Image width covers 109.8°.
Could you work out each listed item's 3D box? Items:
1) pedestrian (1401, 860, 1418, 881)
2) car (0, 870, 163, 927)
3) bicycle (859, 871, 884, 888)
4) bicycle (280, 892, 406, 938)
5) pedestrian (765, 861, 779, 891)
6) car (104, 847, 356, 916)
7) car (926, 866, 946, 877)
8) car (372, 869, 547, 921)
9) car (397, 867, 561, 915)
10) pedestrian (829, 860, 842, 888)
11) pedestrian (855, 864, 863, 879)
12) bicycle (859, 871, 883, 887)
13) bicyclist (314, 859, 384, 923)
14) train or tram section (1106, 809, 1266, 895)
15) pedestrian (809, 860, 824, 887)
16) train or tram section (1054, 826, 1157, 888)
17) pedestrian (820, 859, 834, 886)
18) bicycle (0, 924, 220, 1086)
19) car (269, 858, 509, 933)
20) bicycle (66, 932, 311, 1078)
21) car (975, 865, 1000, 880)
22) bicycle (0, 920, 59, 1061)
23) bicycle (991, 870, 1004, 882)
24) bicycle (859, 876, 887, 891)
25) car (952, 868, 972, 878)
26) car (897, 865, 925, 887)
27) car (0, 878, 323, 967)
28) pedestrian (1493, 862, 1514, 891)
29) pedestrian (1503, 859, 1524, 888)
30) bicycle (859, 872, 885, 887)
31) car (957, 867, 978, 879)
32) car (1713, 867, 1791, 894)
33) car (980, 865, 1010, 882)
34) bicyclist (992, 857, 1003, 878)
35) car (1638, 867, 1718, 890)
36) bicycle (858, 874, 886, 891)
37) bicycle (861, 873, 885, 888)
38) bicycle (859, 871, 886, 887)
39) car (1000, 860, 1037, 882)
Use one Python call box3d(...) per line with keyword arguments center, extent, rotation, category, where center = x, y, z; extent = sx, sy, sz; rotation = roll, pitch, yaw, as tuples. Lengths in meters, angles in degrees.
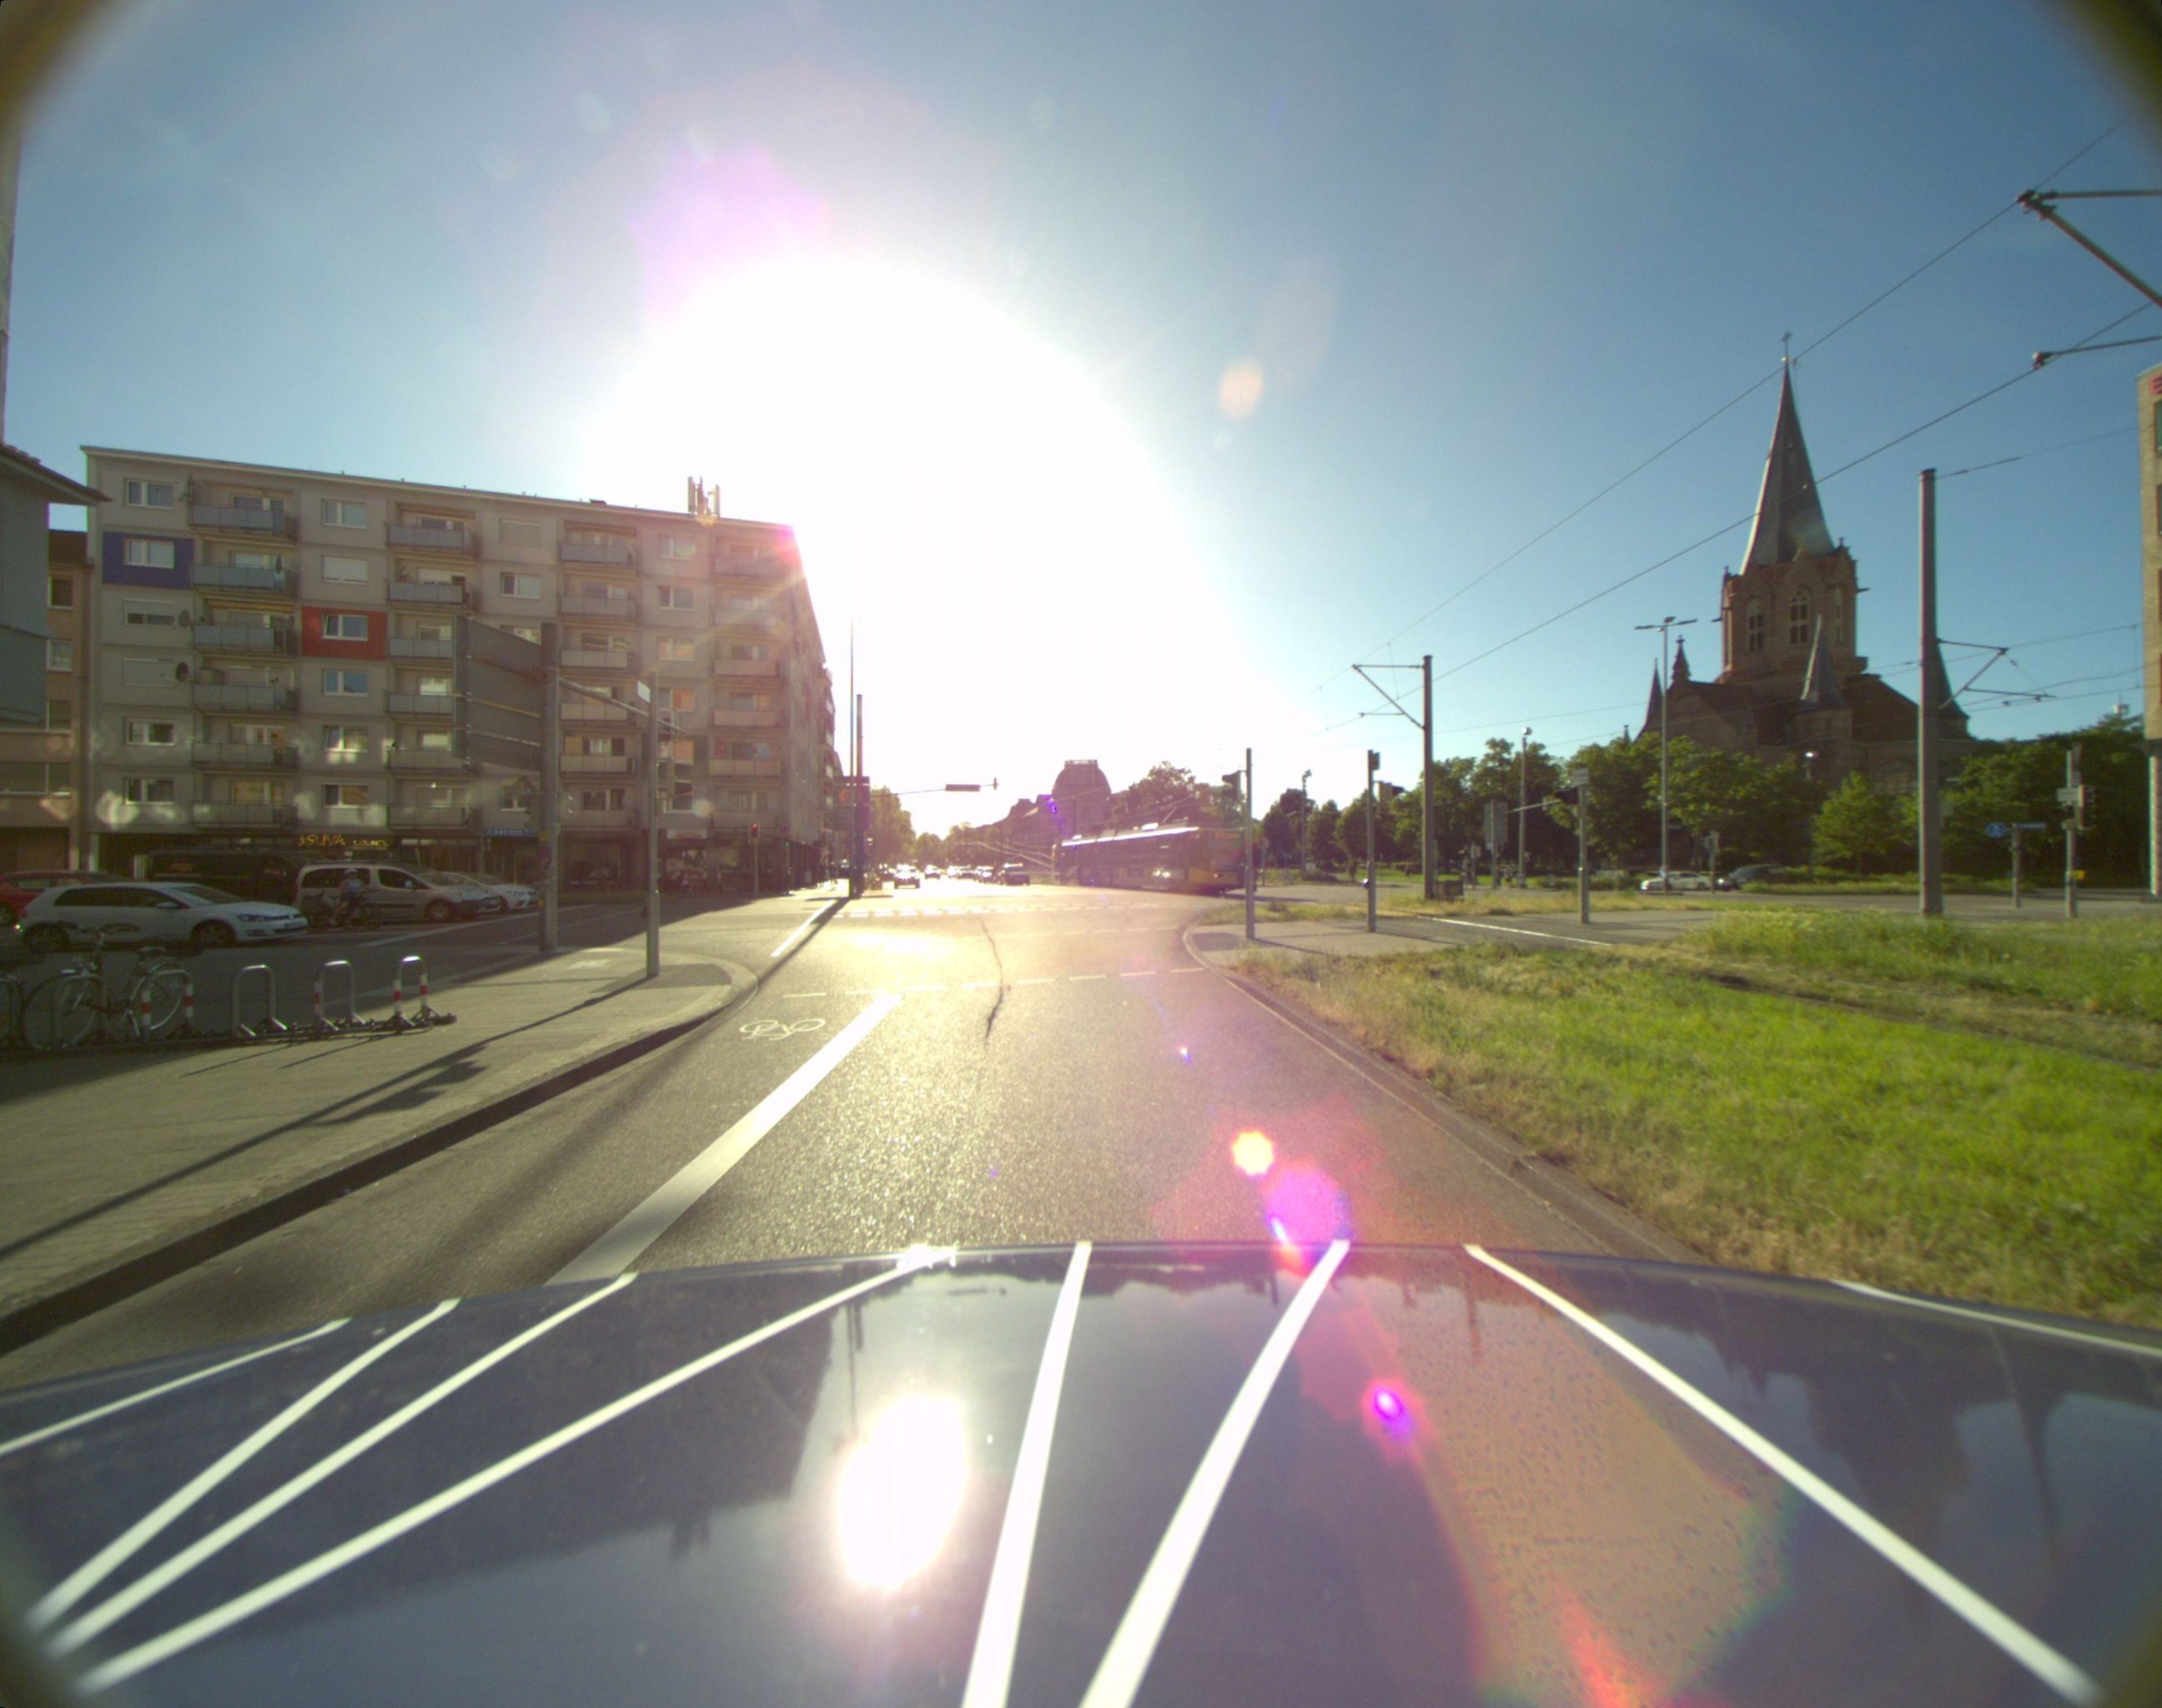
box3d(center=(29.779, 1.457, 68.867), extent=(0.845, 1.836, 1.113), rotation=(-2, 1, -18), category="pedestrian")
box3d(center=(-29.918, 1.243, 21.789), extent=(4.384, 1.526, 1.825), rotation=(0, -1, -12), category="car")
box3d(center=(-15.647, 1.893, 56.725), extent=(1.784, 1.222, 0.414), rotation=(0, 0, -20), category="bicycle")
box3d(center=(-18.975, 1.549, 19.604), extent=(2.150, 0.995, 0.860), rotation=(-2, 1, -17), category="bicycle")
box3d(center=(-18.105, 1.281, 44.497), extent=(0.569, 1.763, 0.664), rotation=(-1, 0, -8), category="pedestrian")
box3d(center=(-28.405, 0.897, 25.605), extent=(5.256, 2.185, 2.375), rotation=(0, -1, -11), category="car")
box3d(center=(-17.850, 2.087, 93.234), extent=(1.989, 1.284, 4.387), rotation=(0, -1, -16), category="car")
box3d(center=(-20.271, 1.304, 24.995), extent=(4.002, 1.432, 1.846), rotation=(-2, 1, -17), category="car")
box3d(center=(-21.491, 1.285, 27.283), extent=(4.160, 1.460, 1.973), rotation=(-2, 1, -5), category="car")
box3d(center=(-15.725, 1.291, 48.676), extent=(0.792, 1.766, 0.873), rotation=(0, 0, -16), category="pedestrian")
box3d(center=(-26.046, 2.048, 89.137), extent=(0.773, 1.641, 0.671), rotation=(-1, 0, -4), category="pedestrian")
box3d(center=(-13.512, 1.636, 48.870), extent=(1.434, 1.005, 0.410), rotation=(1, 0, -14), category="bicycle")
box3d(center=(-18.890, 0.931, 19.637), extent=(0.936, 1.551, 0.940), rotation=(-2, 1, -18), category="bicyclist")
box3d(center=(4.764, 0.006, 39.006), extent=(2.960, 3.663, 13.167), rotation=(-1, -1, -16), category="train or tram section")
box3d(center=(-17.895, 1.305, 51.384), extent=(0.867, 1.824, 1.209), rotation=(0, 0, -16), category="pedestrian")
box3d(center=(1.232, 0.263, 51.321), extent=(2.960, 3.591, 13.617), rotation=(-1, -1, -16), category="train or tram section")
box3d(center=(-18.032, 1.320, 54.045), extent=(0.792, 1.874, 0.874), rotation=(0, 0, -8), category="pedestrian")
box3d(center=(-9.076, 1.302, 7.007), extent=(0.477, 1.110, 2.116), rotation=(-2, 1, -19), category="bicycle")
box3d(center=(-19.489, 1.111, 21.664), extent=(4.604, 1.839, 1.944), rotation=(-2, 1, -16), category="car")
box3d(center=(-8.432, 1.352, 7.326), extent=(0.477, 0.979, 2.116), rotation=(-2, 1, -19), category="bicycle")
box3d(center=(-9.432, 1.828, 76.311), extent=(1.894, 1.421, 4.127), rotation=(-2, 0, -16), category="car")
box3d(center=(-9.931, 1.260, 6.404), extent=(0.534, 1.237, 1.845), rotation=(-2, 1, -17), category="bicycle")
box3d(center=(-6.921, 1.796, 62.993), extent=(0.631, 0.934, 1.903), rotation=(-2, 1, -21), category="bicycle")
box3d(center=(-13.656, 1.945, 49.936), extent=(1.706, 1.005, 0.410), rotation=(1, 0, -19), category="bicycle")
box3d(center=(-15.200, 2.399, 96.696), extent=(1.989, 1.284, 4.321), rotation=(0, -1, -16), category="car")
box3d(center=(-13.258, 1.681, 59.073), extent=(1.904, 1.677, 4.113), rotation=(0, -1, -15), category="car")
box3d(center=(-19.748, 1.405, 16.531), extent=(4.166, 1.494, 1.842), rotation=(-2, 2, -17), category="car")
box3d(center=(29.911, 1.600, 53.768), extent=(0.879, 2.002, 0.924), rotation=(-2, 1, -15), category="pedestrian")
box3d(center=(30.779, 1.404, 54.061), extent=(0.879, 2.002, 0.924), rotation=(-2, 1, -15), category="pedestrian")
box3d(center=(-15.204, 1.831, 55.317), extent=(1.825, 1.063, 0.414), rotation=(1, 1, -20), category="bicycle")
box3d(center=(-13.024, 2.150, 87.192), extent=(1.861, 1.284, 4.090), rotation=(0, -1, -16), category="car")
box3d(center=(43.543, 1.676, 49.318), extent=(3.945, 1.565, 1.835), rotation=(-2, 1, -14), category="car")
box3d(center=(-7.777, 1.735, 68.399), extent=(2.001, 1.421, 4.127), rotation=(-2, 0, -16), category="car")
box3d(center=(-6.931, 1.086, 62.966), extent=(0.704, 1.720, 0.852), rotation=(-2, 1, -21), category="bicyclist")
box3d(center=(44.592, 1.818, 56.819), extent=(4.711, 1.565, 1.768), rotation=(-2, 1, -4), category="car")
box3d(center=(-13.910, 1.914, 50.618), extent=(1.758, 1.070, 0.405), rotation=(-2, 1, -18), category="bicycle")
box3d(center=(-14.090, 1.779, 51.449), extent=(1.549, 0.960, 0.386), rotation=(-2, 1, -16), category="bicycle")
box3d(center=(-14.004, 1.669, 51.024), extent=(1.757, 1.093, 0.399), rotation=(0, 0, -18), category="bicycle")
box3d(center=(-4.846, 1.266, 58.468), extent=(2.001, 1.528, 4.350), rotation=(-2, 0, -16), category="car")
